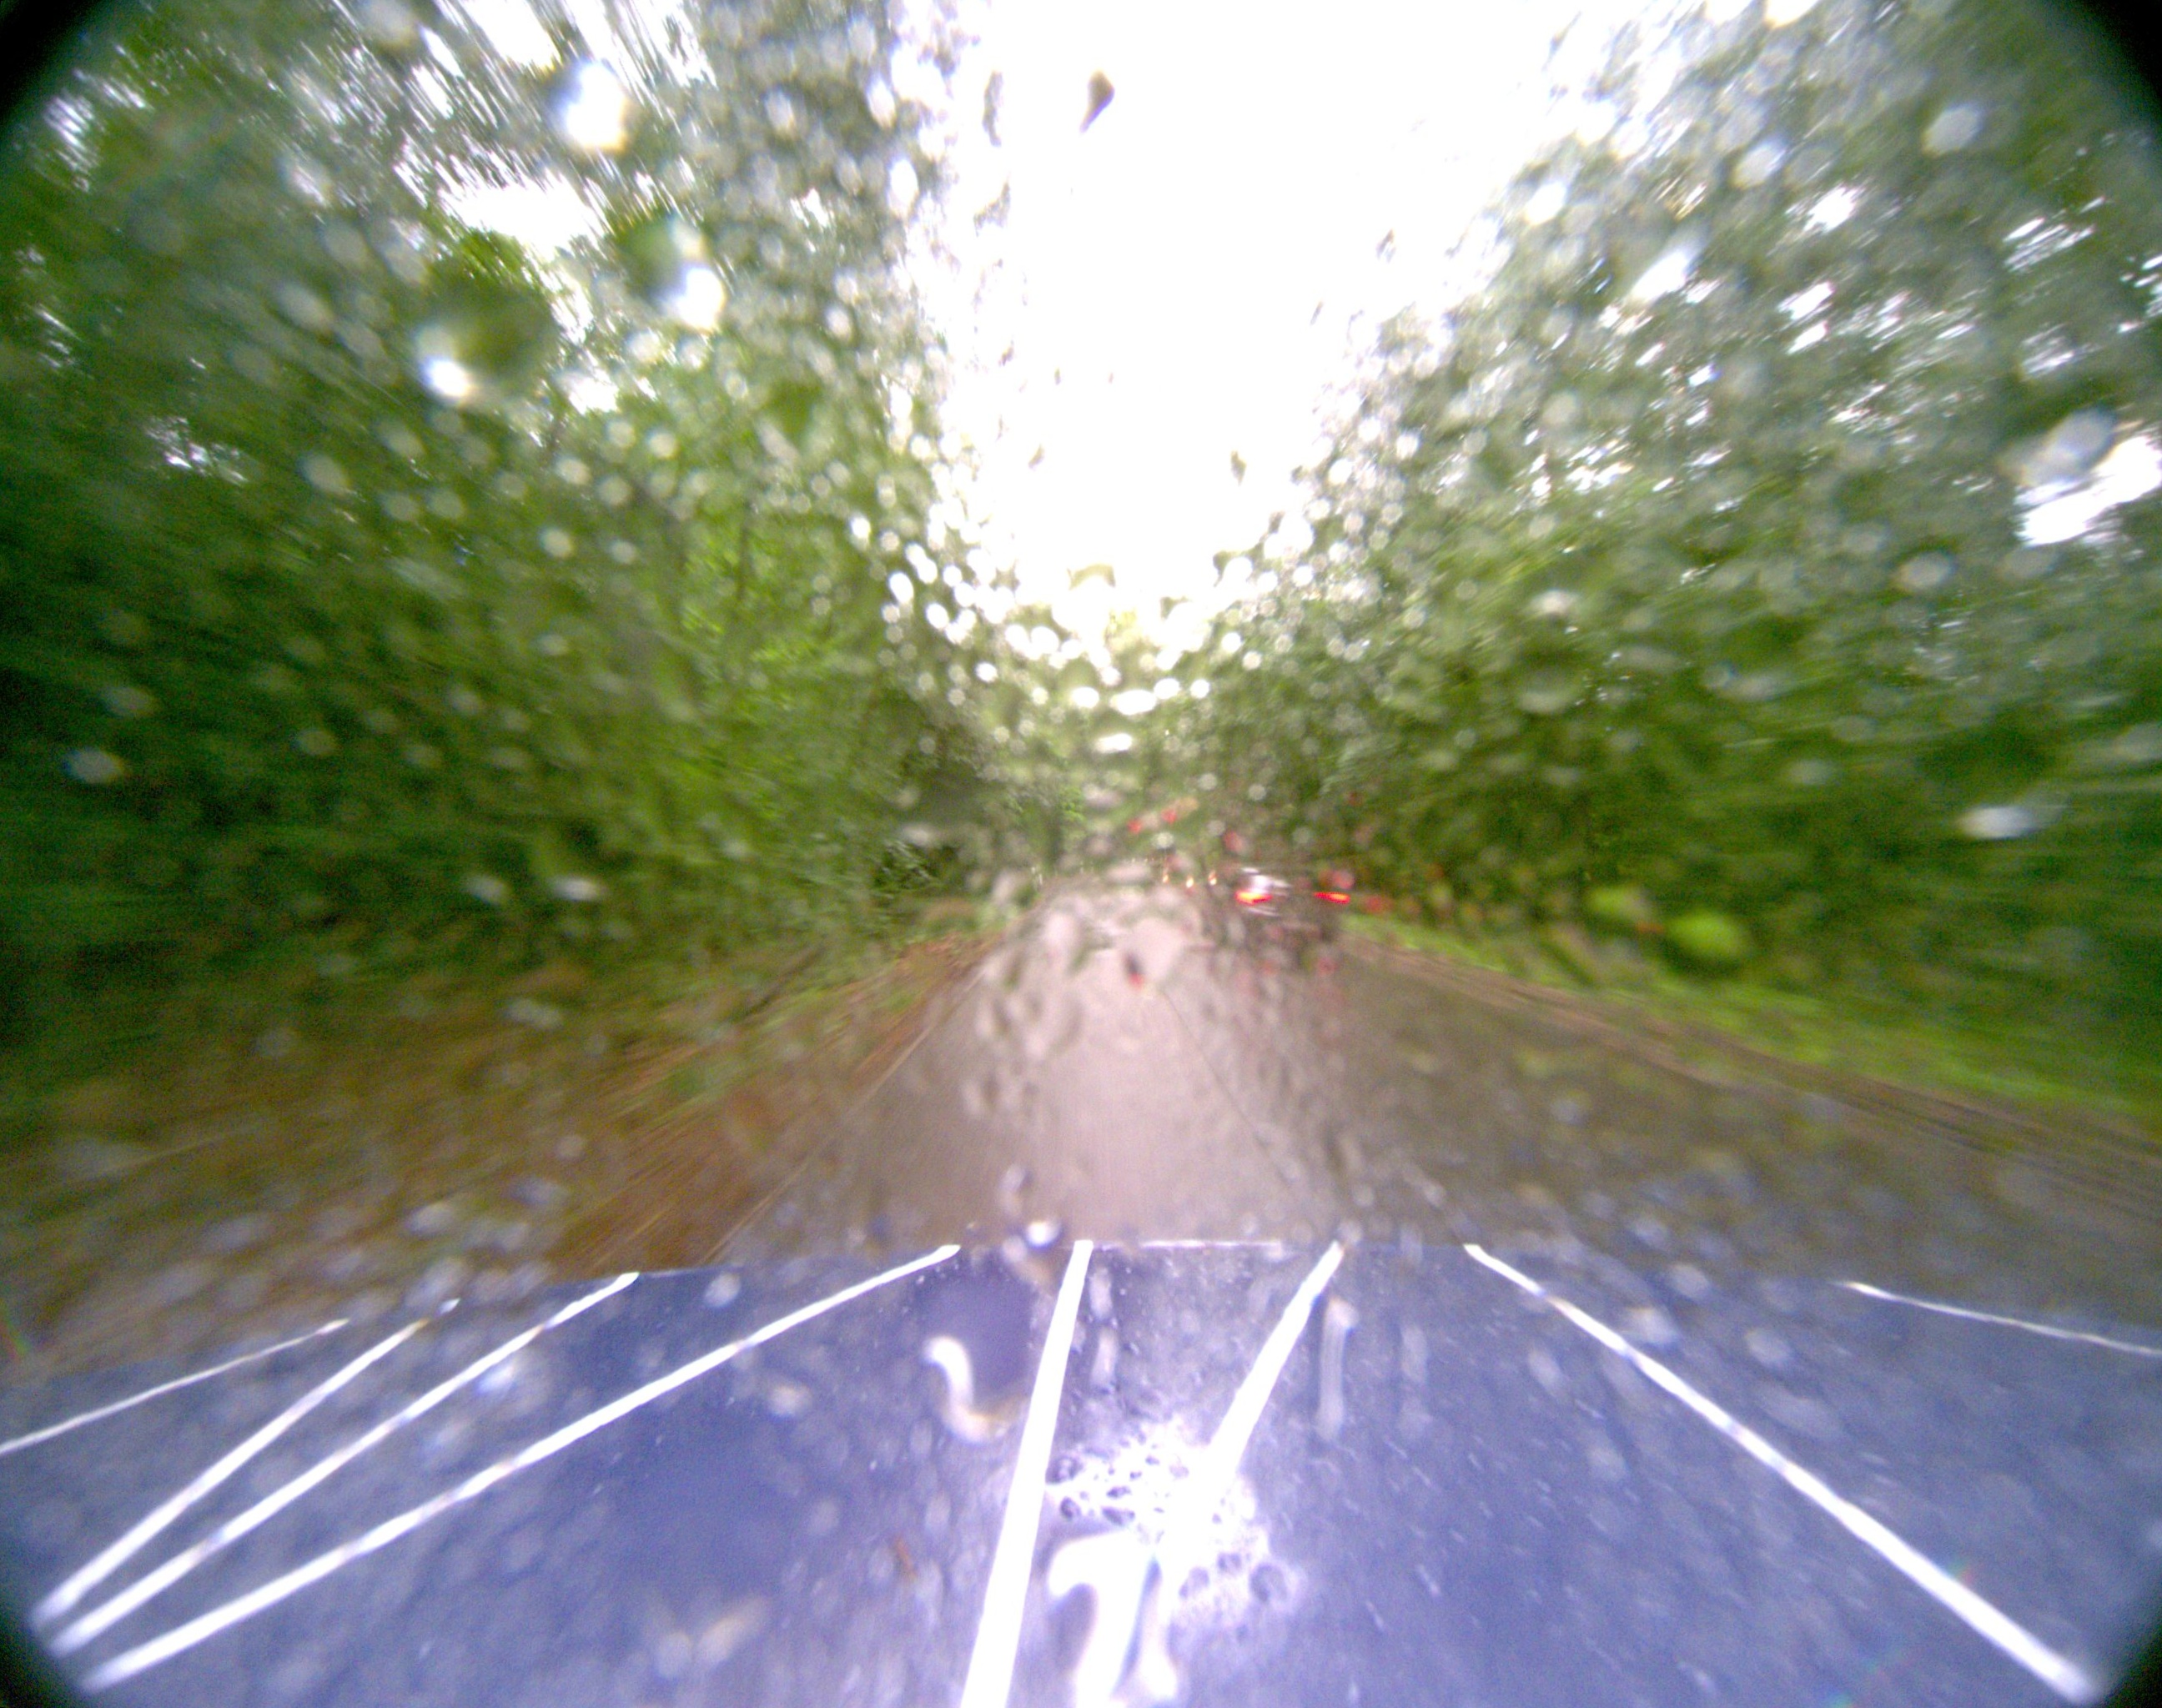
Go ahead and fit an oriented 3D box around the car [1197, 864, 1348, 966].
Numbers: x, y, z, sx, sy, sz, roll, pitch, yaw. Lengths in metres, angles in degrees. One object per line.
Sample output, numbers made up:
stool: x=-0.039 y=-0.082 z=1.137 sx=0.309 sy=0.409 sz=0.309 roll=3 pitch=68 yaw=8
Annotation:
car: x=3.219 y=0.963 z=13.555 sx=1.718 sy=1.467 sz=3.890 roll=0 pitch=1 yaw=0
